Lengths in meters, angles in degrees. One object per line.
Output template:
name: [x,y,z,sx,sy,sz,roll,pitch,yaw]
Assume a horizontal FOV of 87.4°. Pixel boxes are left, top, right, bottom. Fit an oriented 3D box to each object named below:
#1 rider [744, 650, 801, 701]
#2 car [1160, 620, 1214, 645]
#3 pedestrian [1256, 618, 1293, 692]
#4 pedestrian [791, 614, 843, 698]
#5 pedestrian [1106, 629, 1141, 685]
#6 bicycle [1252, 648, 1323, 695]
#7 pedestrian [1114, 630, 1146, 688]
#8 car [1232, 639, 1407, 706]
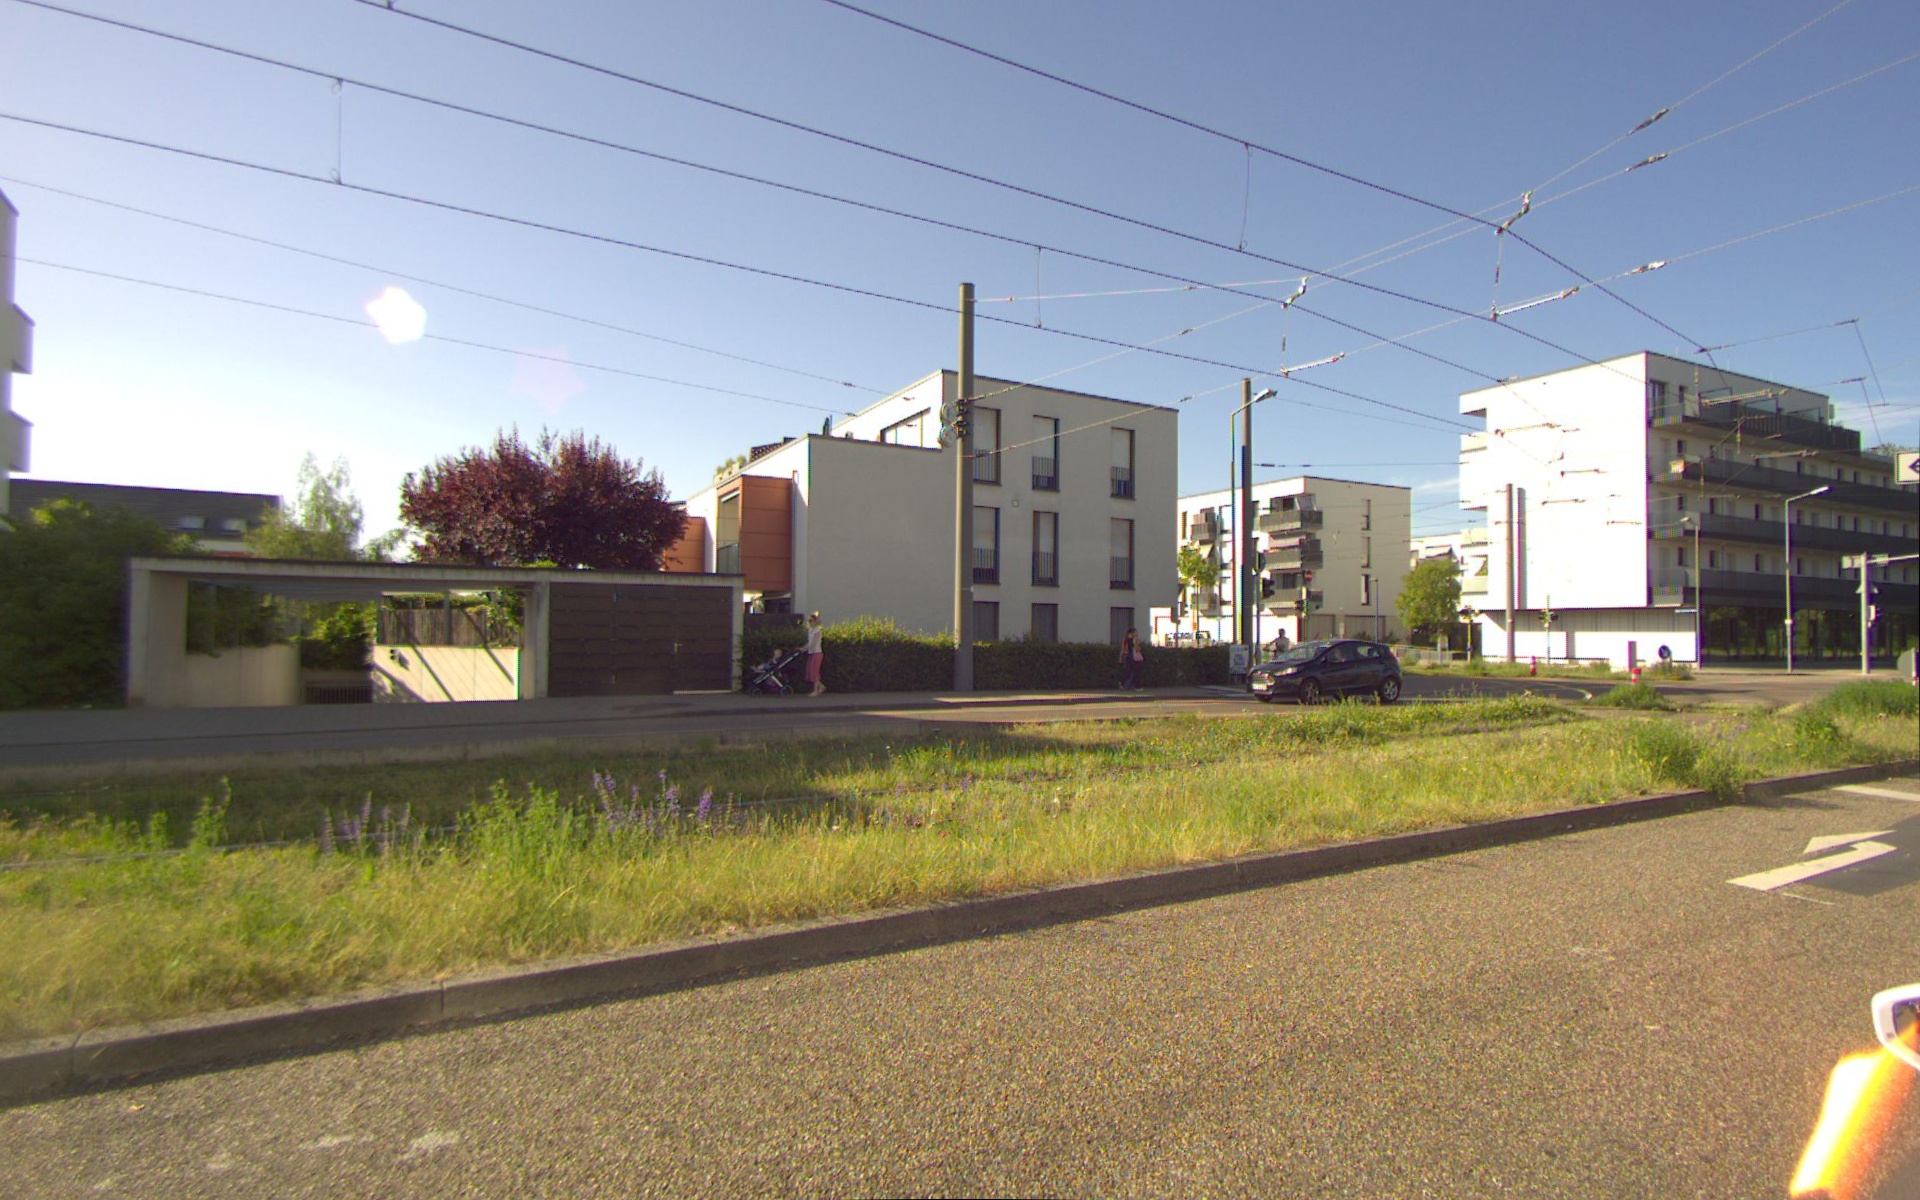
rider: [-4.017,1.598,21.512,1.031,1.016,0.775,1,0,-25]
car: [18.121,2.550,80.307,1.977,1.862,3.967,1,0,-31]
pedestrian: [8.880,1.536,28.336,0.665,2.040,0.753,1,0,-43]
pedestrian: [-3.120,1.210,21.887,0.897,1.771,0.813,1,0,-24]
pedestrian: [4.420,1.522,27.110,0.733,1.483,0.555,1,0,-28]
bicycle: [9.431,2.021,28.865,2.685,1.238,0.786,1,0,-45]
pedestrian: [4.483,1.544,26.531,0.604,1.483,0.555,1,0,-28]
car: [8.388,1.663,23.466,3.687,1.449,1.700,1,-3,-24]
